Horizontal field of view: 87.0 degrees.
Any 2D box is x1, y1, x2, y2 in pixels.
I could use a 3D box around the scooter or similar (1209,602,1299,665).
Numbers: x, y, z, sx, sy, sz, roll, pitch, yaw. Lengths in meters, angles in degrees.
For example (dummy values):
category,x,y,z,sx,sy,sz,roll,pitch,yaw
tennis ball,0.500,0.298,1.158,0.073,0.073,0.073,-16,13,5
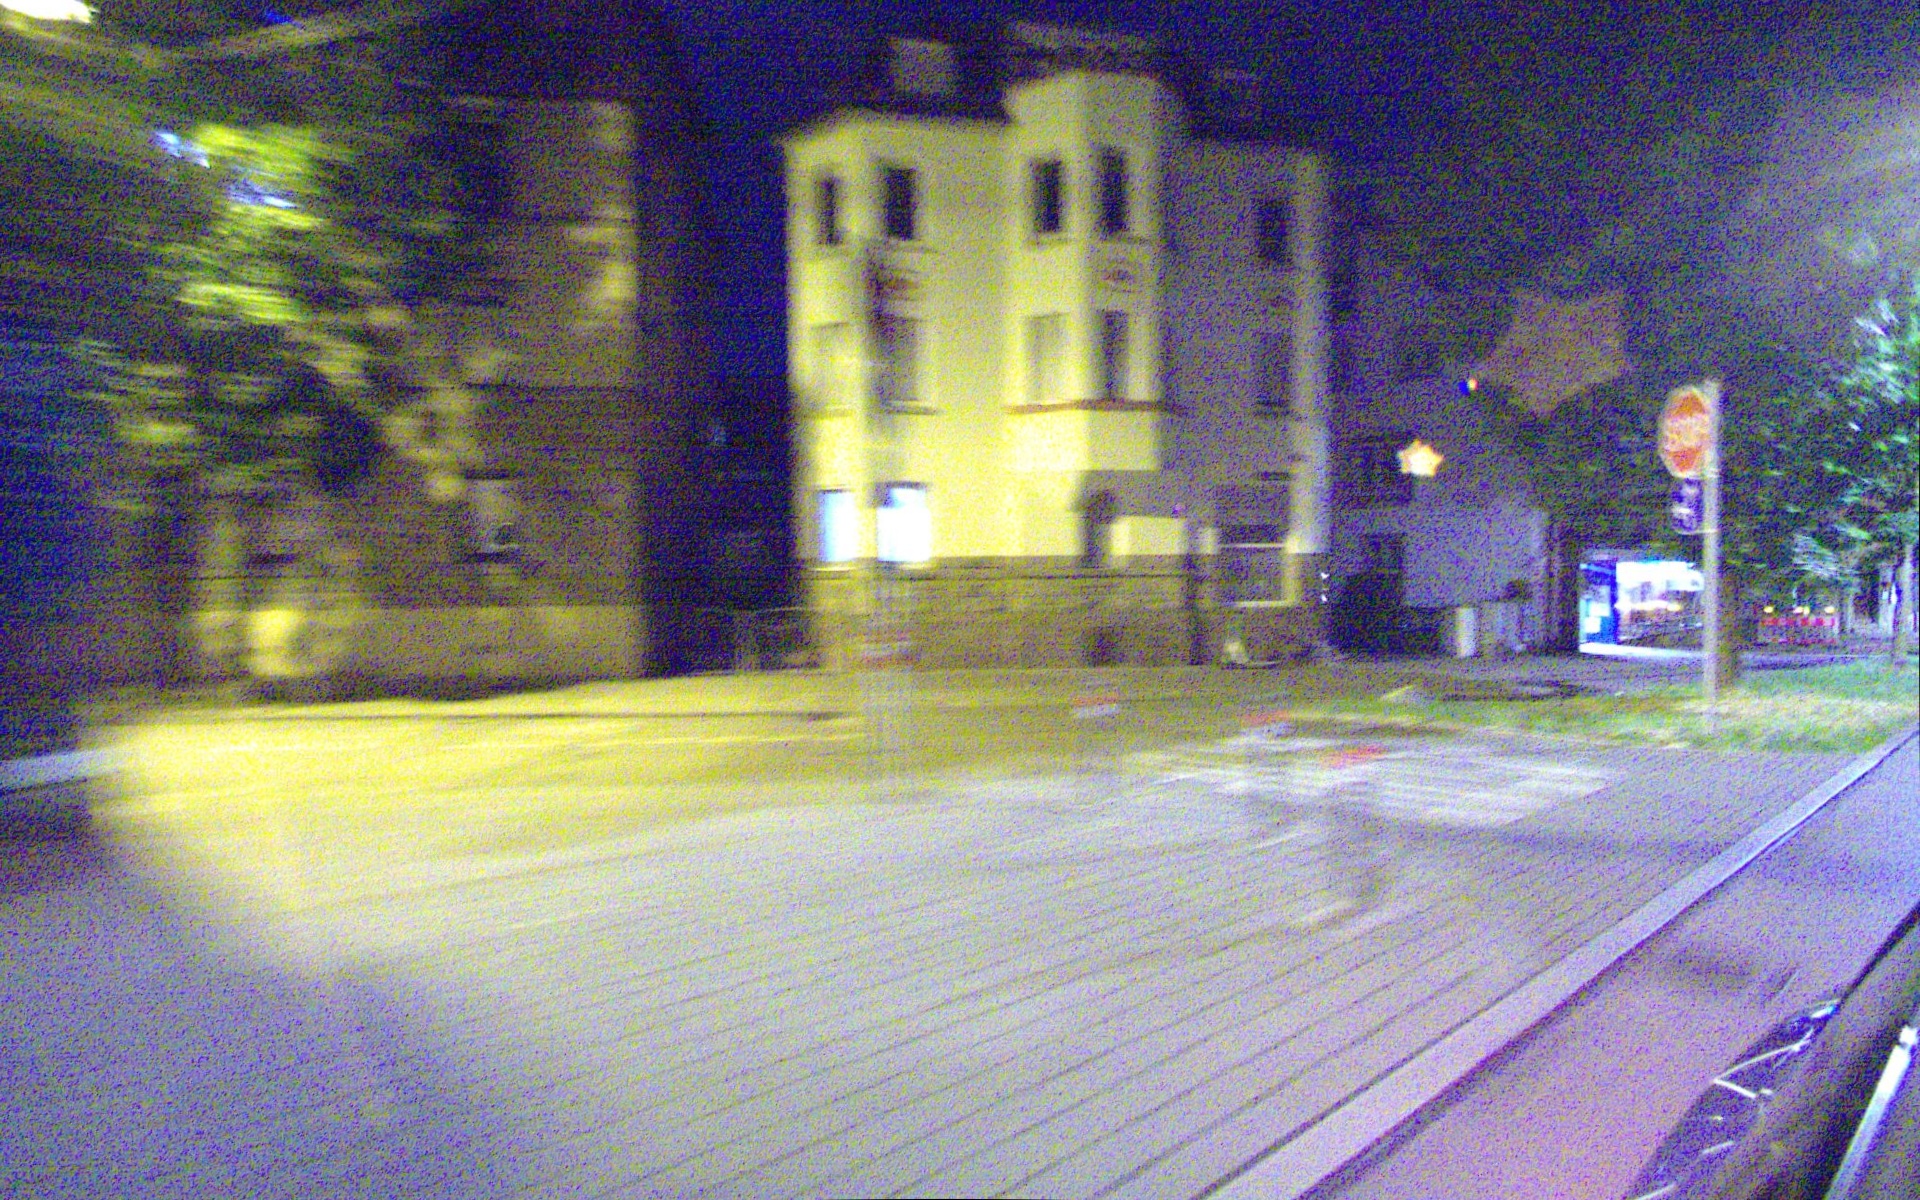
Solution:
category,x,y,z,sx,sy,sz,roll,pitch,yaw
scooter or similar,5.728,0.643,19.726,1.631,1.159,0.502,0,3,-16
